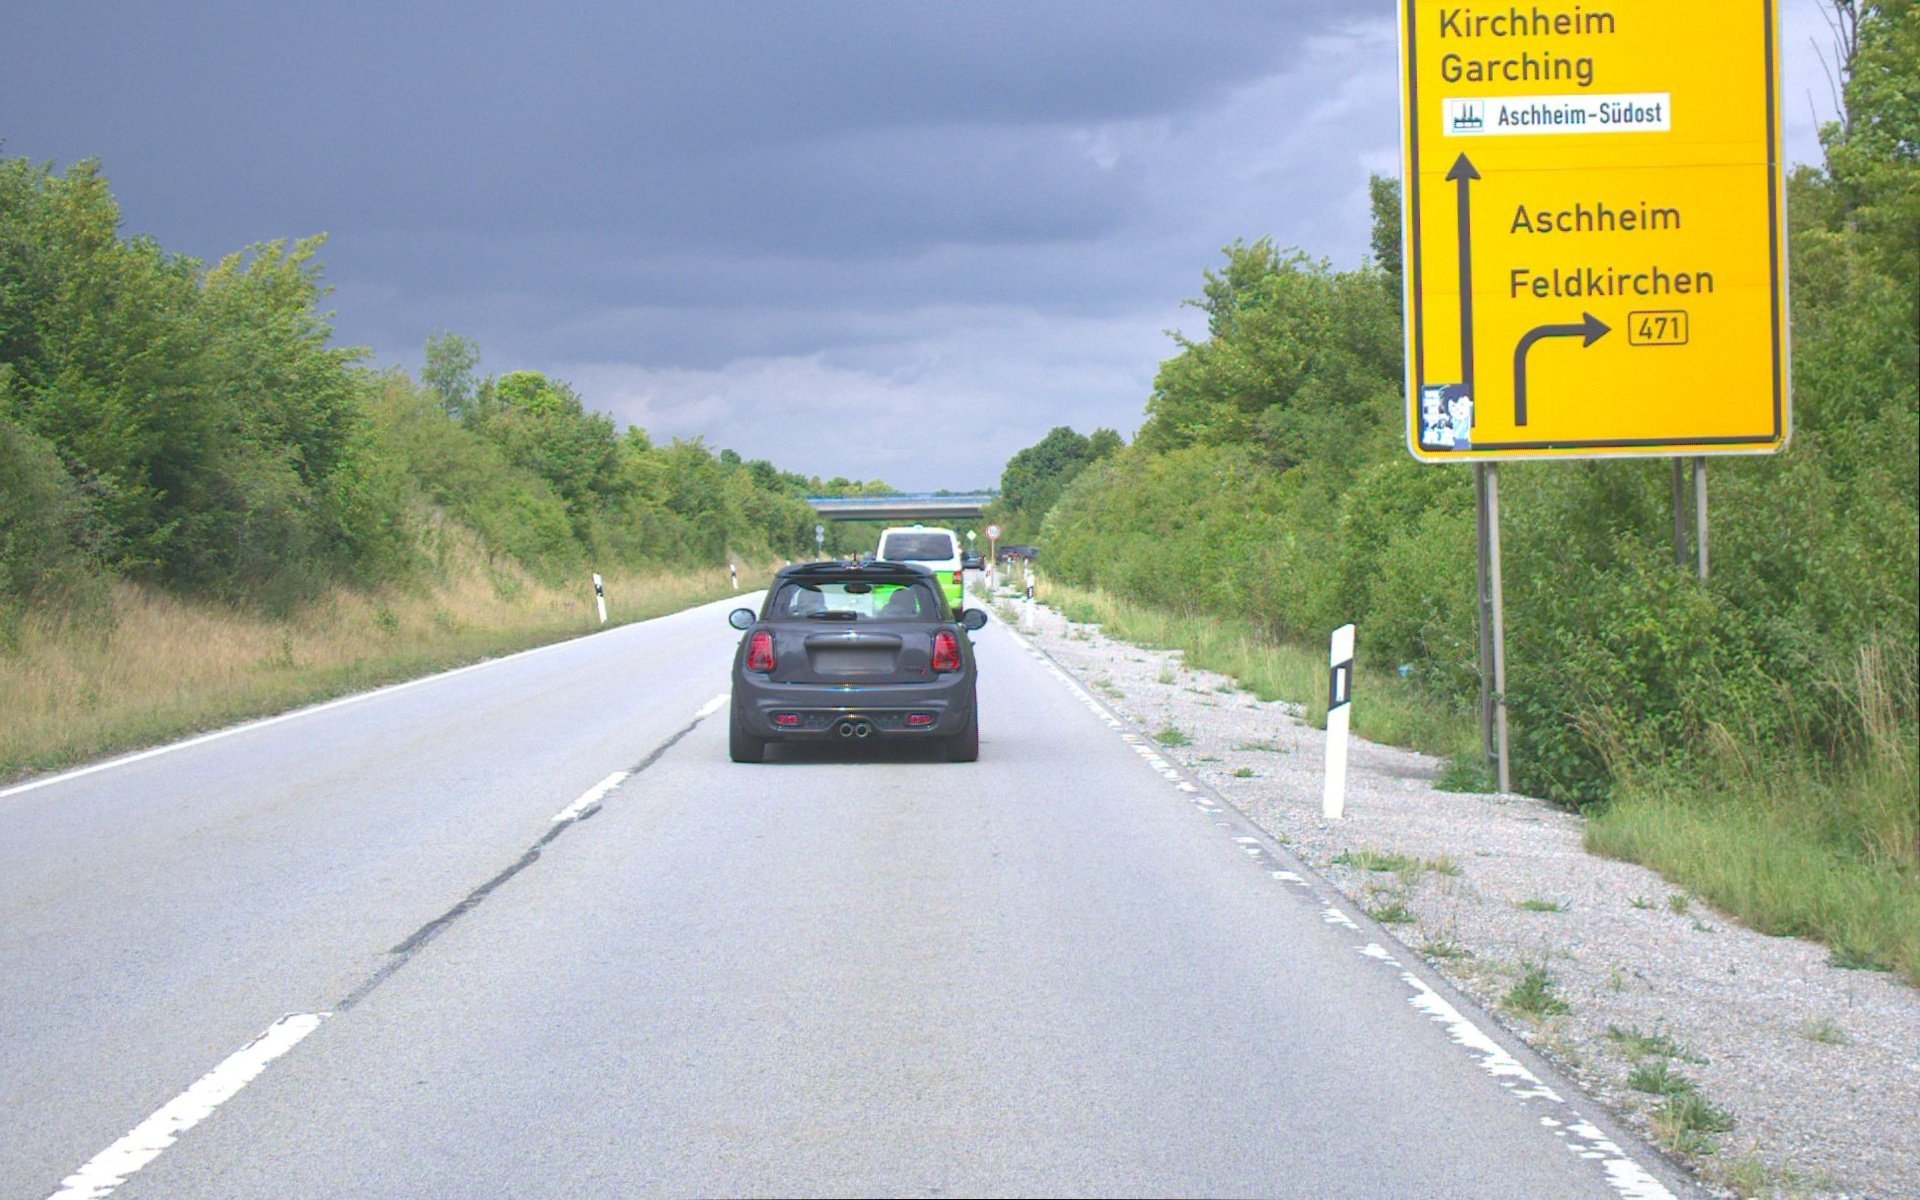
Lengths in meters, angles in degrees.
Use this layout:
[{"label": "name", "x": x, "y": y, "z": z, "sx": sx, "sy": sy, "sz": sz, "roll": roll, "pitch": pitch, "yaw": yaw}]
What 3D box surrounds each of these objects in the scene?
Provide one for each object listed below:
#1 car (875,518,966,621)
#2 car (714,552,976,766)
[{"label": "car", "x": -0.826, "y": -0.643, "z": 71.407, "sx": 1.819, "sy": 2.047, "sz": 4.000, "roll": 1, "pitch": 1, "yaw": -1}, {"label": "car", "x": -0.809, "y": 0.377, "z": 25.272, "sx": 1.756, "sy": 1.422, "sz": 4.000, "roll": 1, "pitch": 1, "yaw": -1}]
